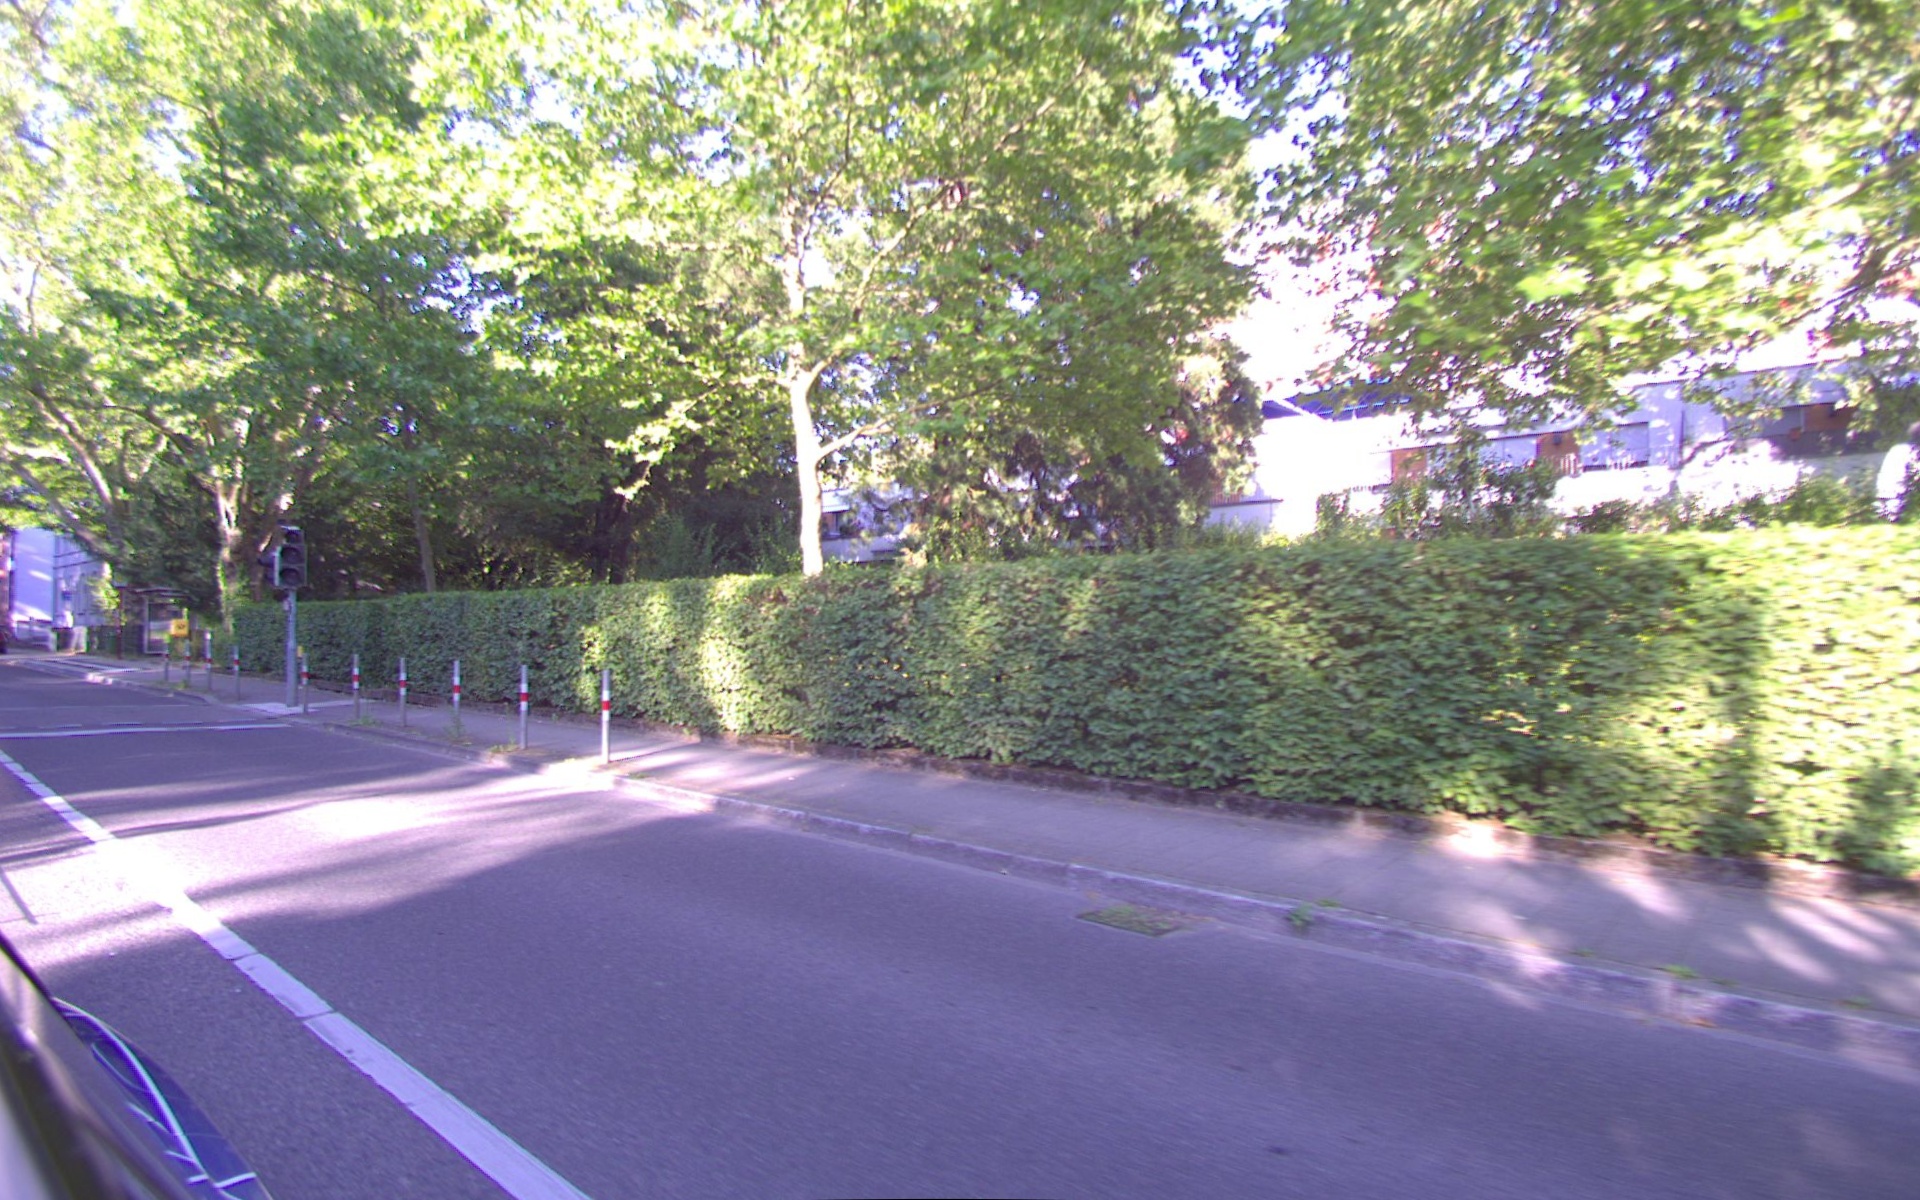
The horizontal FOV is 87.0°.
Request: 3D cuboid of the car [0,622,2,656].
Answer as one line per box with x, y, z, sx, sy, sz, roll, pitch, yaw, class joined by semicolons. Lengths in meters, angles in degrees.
-42.704;1.736;43.569;3.613;1.445;1.669;-1;1;40;car
